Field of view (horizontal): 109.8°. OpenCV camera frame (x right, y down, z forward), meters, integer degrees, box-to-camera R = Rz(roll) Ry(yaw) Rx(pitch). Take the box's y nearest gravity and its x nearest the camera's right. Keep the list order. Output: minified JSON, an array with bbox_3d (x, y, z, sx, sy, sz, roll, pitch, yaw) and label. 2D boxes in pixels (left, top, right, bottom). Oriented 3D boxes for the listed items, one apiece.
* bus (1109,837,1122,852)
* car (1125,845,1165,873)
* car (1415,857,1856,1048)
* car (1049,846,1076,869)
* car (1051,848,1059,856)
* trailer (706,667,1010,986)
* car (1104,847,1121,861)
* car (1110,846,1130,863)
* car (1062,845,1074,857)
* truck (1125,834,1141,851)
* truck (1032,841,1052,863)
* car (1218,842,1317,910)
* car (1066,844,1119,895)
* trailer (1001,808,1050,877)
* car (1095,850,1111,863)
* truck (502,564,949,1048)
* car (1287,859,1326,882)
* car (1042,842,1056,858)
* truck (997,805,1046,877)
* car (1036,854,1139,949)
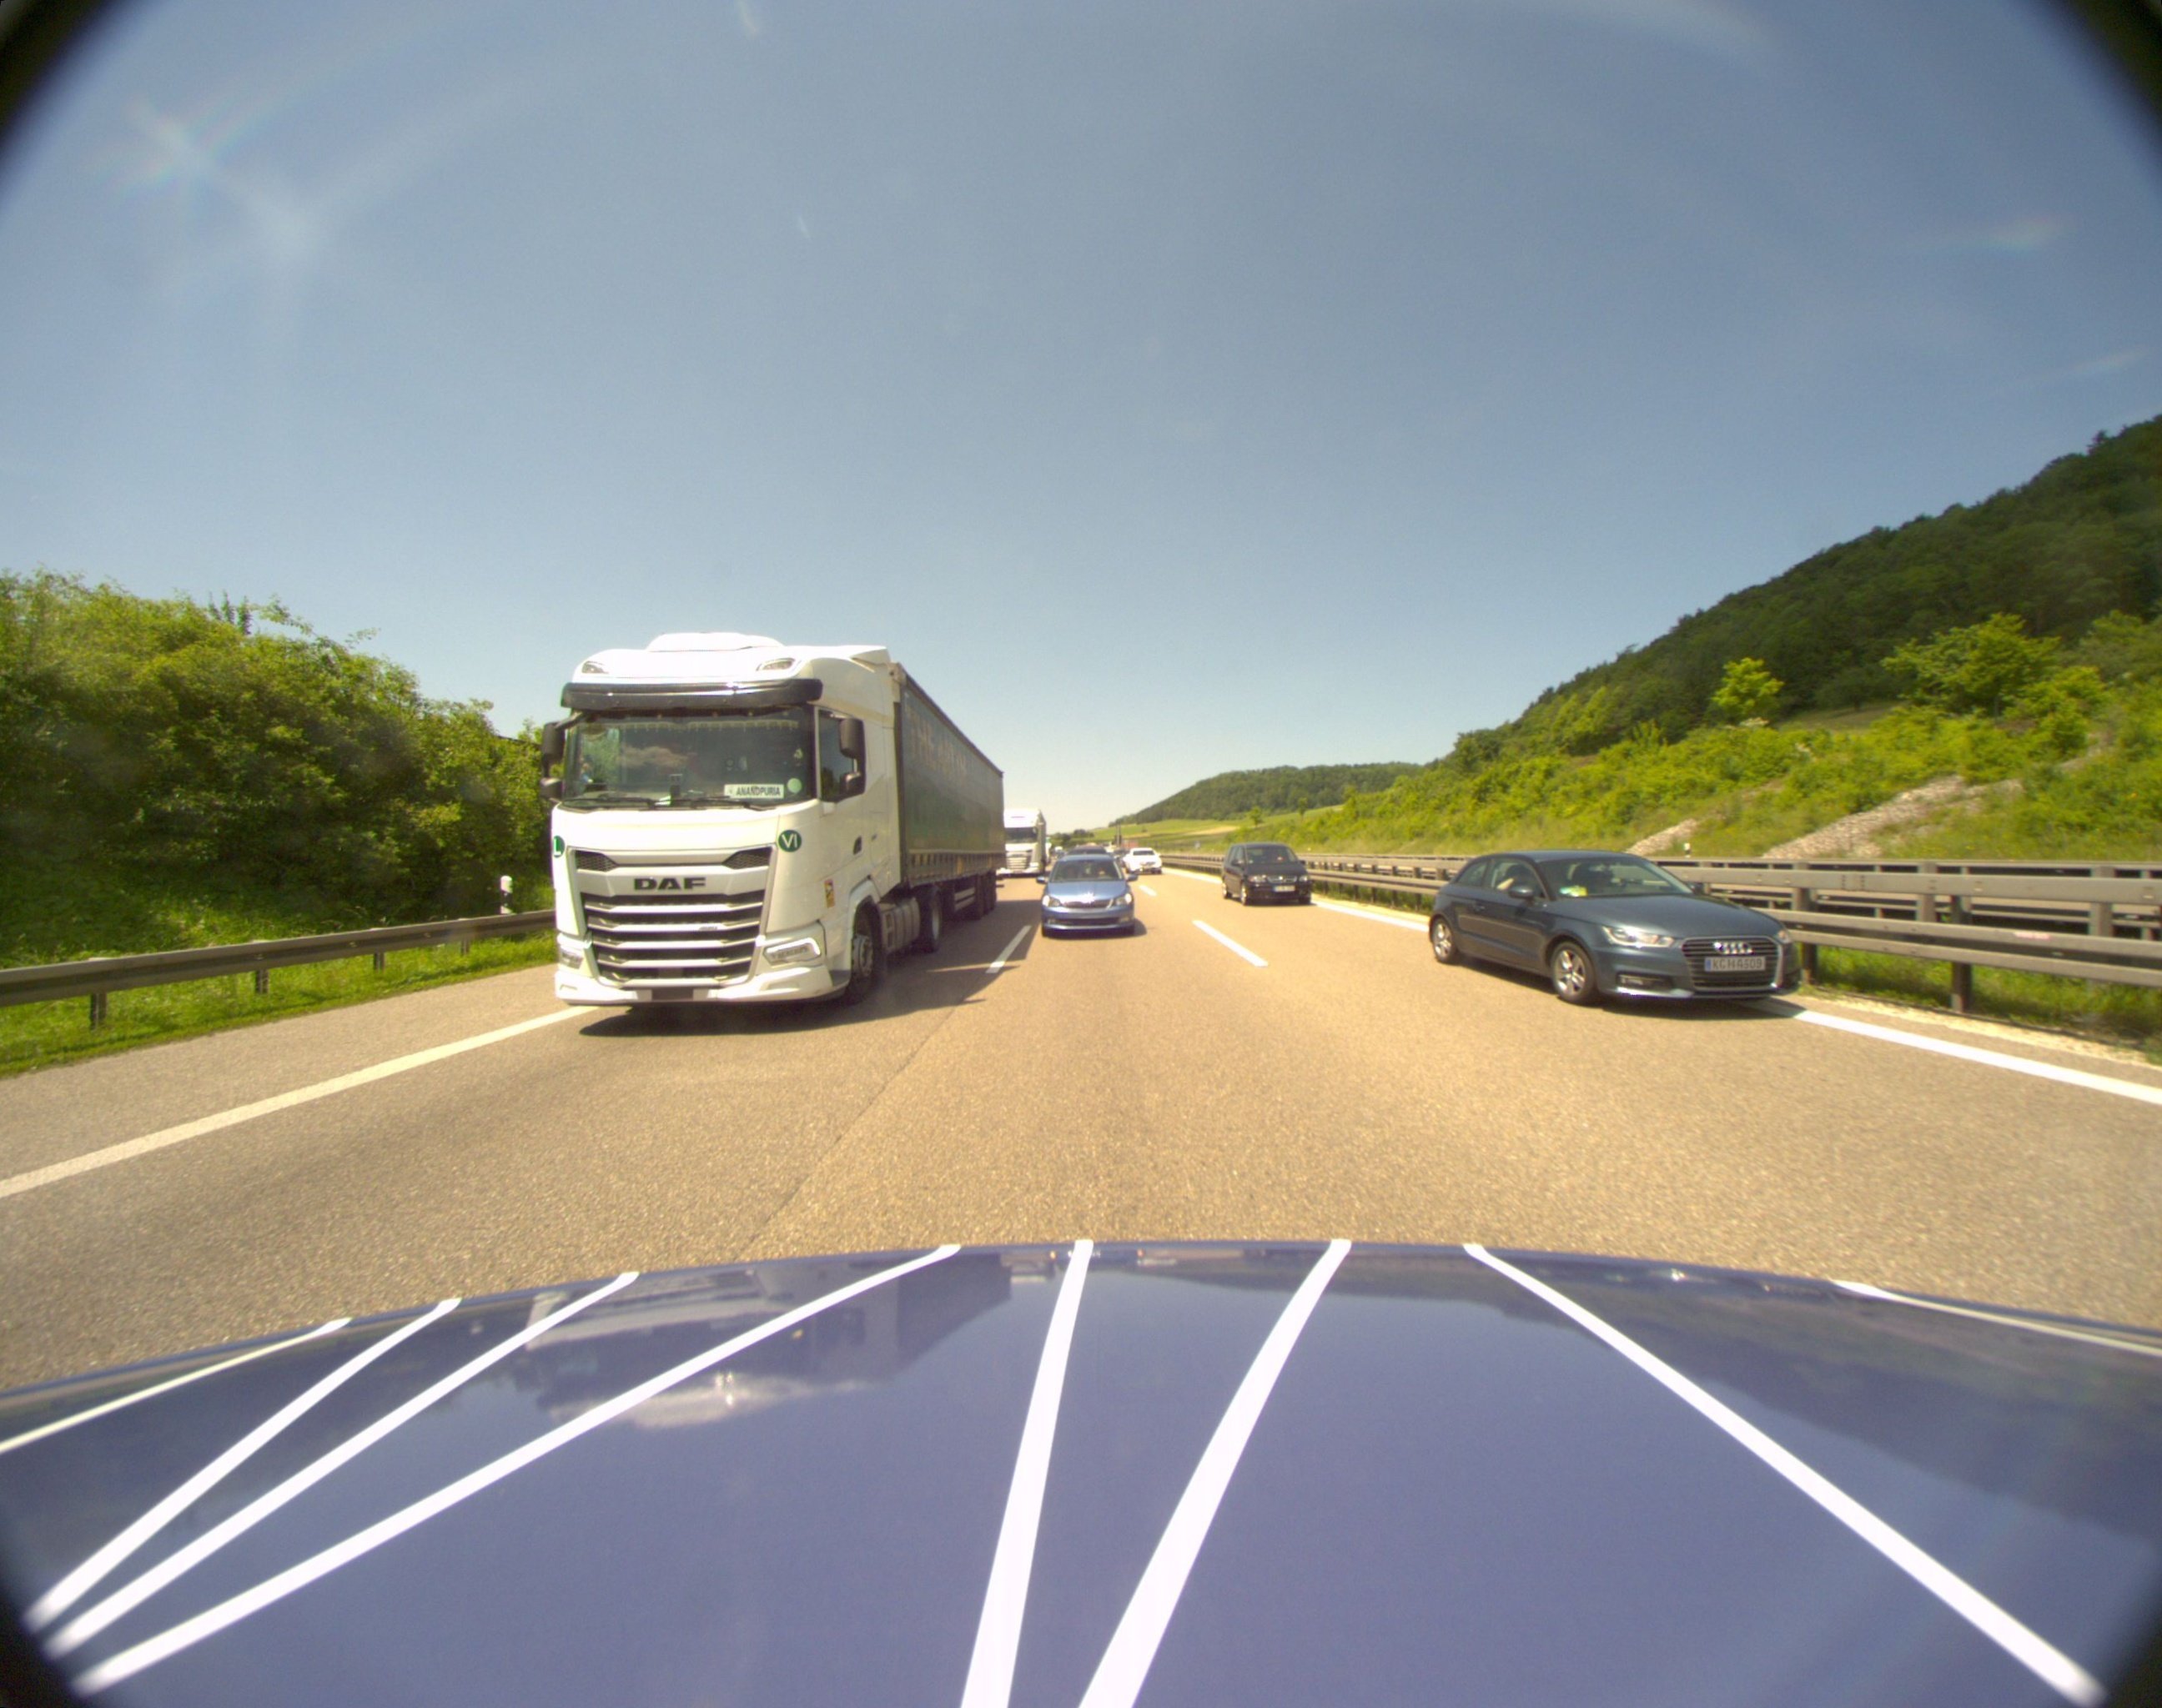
[{"bbox_3d":[9.201,-2.563,203.298,2.686,3.640,14.814,-1,1,1],"label":"bus"},{"bbox_3d":[3.821,0.266,45.947,1.999,1.612,3.999,-2,1,0],"label":"car"},{"bbox_3d":[5.122,0.767,7.812,1.692,1.380,4.000,-1,1,2],"label":"car"},{"bbox_3d":[-1.427,0.263,61.509,1.998,1.702,3.999,-2,1,0],"label":"car"},{"bbox_3d":[-6.956,-0.656,202.743,1.998,2.002,3.999,-2,1,0],"label":"car"},{"bbox_3d":[-3.431,-0.409,16.381,2.484,3.954,13.653,-1,1,0],"label":"trailer"},{"bbox_3d":[4.107,-0.026,97.472,1.998,1.702,4.000,-2,1,4],"label":"car"},{"bbox_3d":[4.255,0.041,81.949,1.998,1.702,4.000,-2,1,4],"label":"car"},{"bbox_3d":[-2.269,-0.561,135.978,1.998,2.002,3.999,-2,1,0],"label":"car"},{"bbox_3d":[13.506,-3.008,198.055,3.626,4.079,9.921,-1,1,0],"label":"truck"},{"bbox_3d":[-4.386,-0.287,86.392,1.835,2.268,6.594,-2,1,0],"label":"truck"},{"bbox_3d":[4.939,0.511,20.752,1.805,1.625,4.446,-1,1,3],"label":"car"},{"bbox_3d":[0.478,0.510,27.593,1.736,1.674,4.198,-1,1,3],"label":"car"},{"bbox_3d":[-3.663,-0.832,52.937,2.544,4.085,13.624,-2,1,-1],"label":"trailer"},{"bbox_3d":[3.158,0.283,107.703,1.998,1.702,4.000,-2,1,4],"label":"car"},{"bbox_3d":[-3.475,-0.419,9.474,2.484,3.954,6.380,-1,1,0],"label":"truck"},{"bbox_3d":[18.554,1.317,62.603,1.998,1.702,3.999,-2,1,0],"label":"car"},{"bbox_3d":[-4.714,-0.611,111.727,1.778,2.178,3.999,-2,1,0],"label":"car"},{"bbox_3d":[-3.565,-0.779,46.971,2.531,4.065,6.078,-2,1,-1],"label":"truck"},{"bbox_3d":[0.129,0.782,14.817,1.660,1.481,4.652,-1,1,0],"label":"car"}]
